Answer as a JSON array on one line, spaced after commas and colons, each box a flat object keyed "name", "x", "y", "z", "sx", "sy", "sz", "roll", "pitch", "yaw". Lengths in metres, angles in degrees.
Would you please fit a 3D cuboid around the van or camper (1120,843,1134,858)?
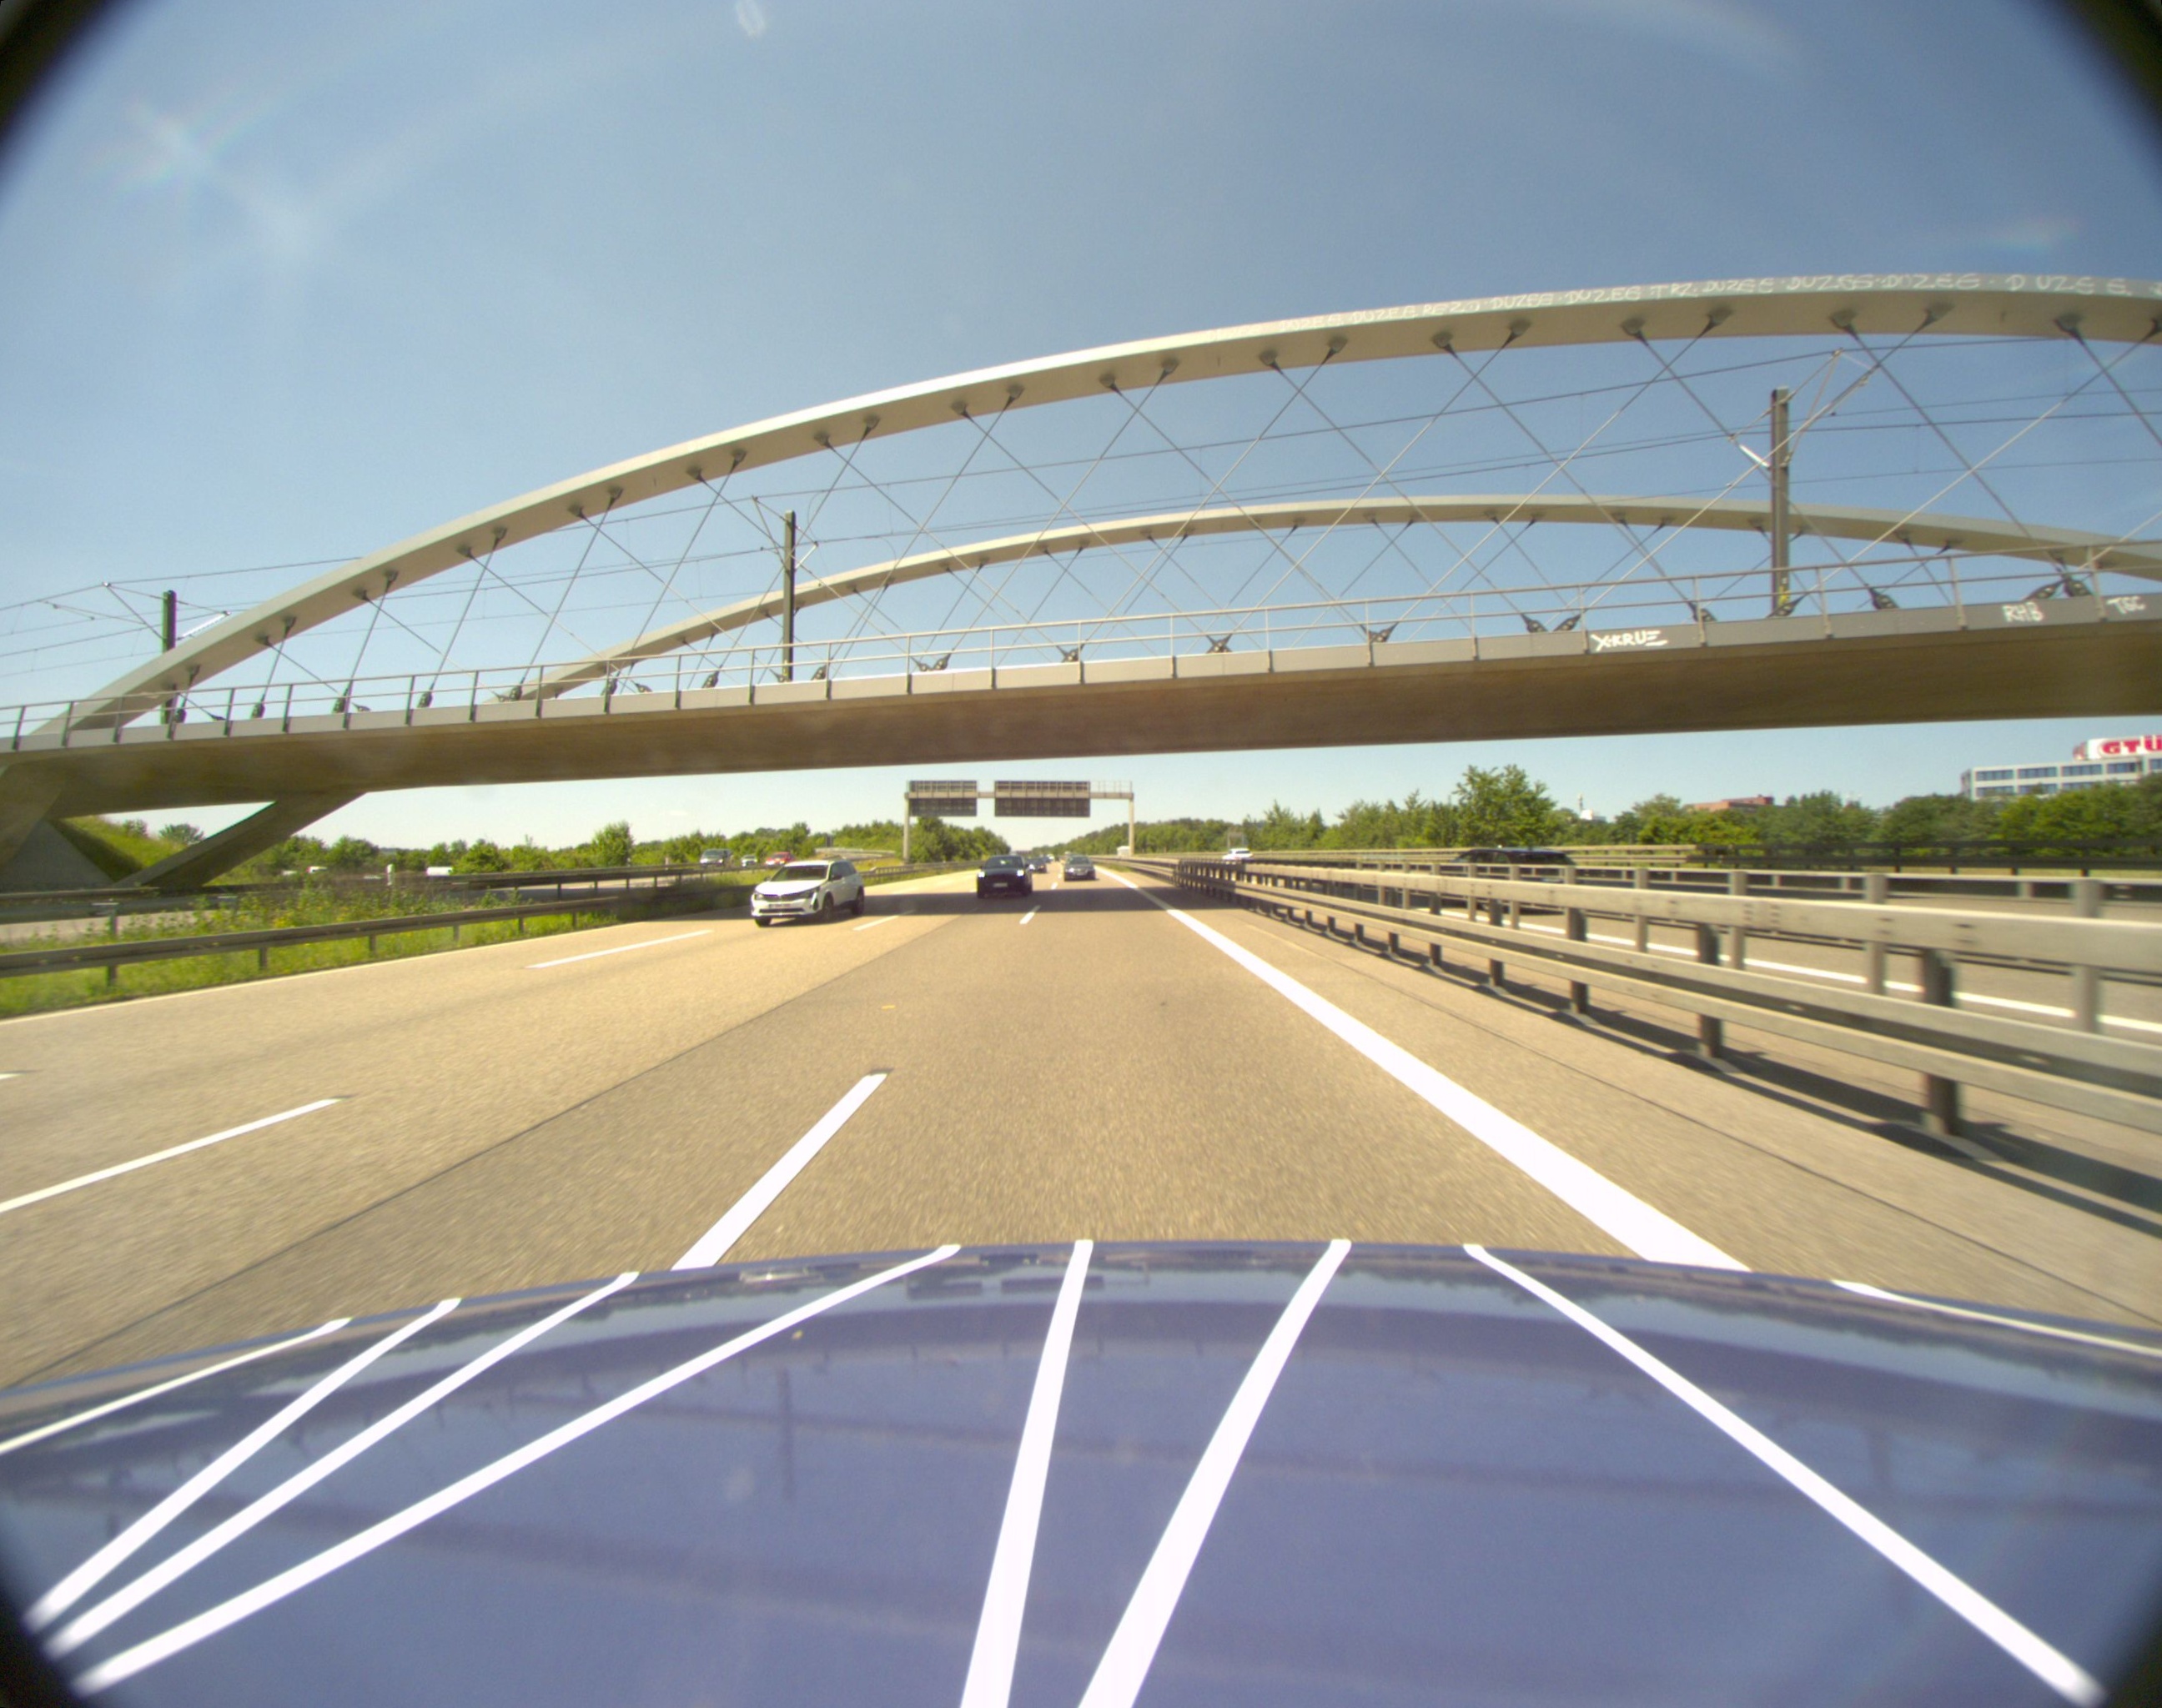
[{"name": "van or camper", "x": 9.936, "y": -0.774, "z": 166.055, "sx": 2.450, "sy": 3.069, "sz": 8.121, "roll": -2, "pitch": 0, "yaw": 0}]

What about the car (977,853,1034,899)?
[{"name": "car", "x": -2.924, "y": 0.821, "z": 30.197, "sx": 1.932, "sy": 1.586, "sz": 4.131, "roll": -3, "pitch": 1, "yaw": -2}]

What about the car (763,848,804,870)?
[{"name": "car", "x": -23.462, "y": 0.388, "z": 60.149, "sx": 1.932, "sy": 1.586, "sz": 4.129, "roll": -3, "pitch": 1, "yaw": -6}]

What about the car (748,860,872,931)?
[{"name": "car", "x": -7.251, "y": 1.027, "z": 20.854, "sx": 1.748, "sy": 1.582, "sz": 4.619, "roll": -3, "pitch": 1, "yaw": -1}]

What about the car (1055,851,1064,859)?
[{"name": "car", "x": -5.294, "y": 0.193, "z": 189.246, "sx": 1.999, "sy": 1.849, "sz": 3.998, "roll": -3, "pitch": 1, "yaw": -5}]

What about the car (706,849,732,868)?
[{"name": "car", "x": -31.930, "y": 0.407, "z": 67.124, "sx": 1.706, "sy": 1.566, "sz": 4.121, "roll": -3, "pitch": 1, "yaw": -21}]

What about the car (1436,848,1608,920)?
[{"name": "car", "x": 9.826, "y": 0.597, "z": 17.337, "sx": 1.634, "sy": 1.403, "sz": 4.100, "roll": -2, "pitch": 0, "yaw": 2}]

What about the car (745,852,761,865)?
[{"name": "car", "x": -42.144, "y": 0.592, "z": 97.480, "sx": 1.707, "sy": 1.566, "sz": 4.120, "roll": -3, "pitch": 1, "yaw": -25}]

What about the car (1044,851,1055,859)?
[{"name": "car", "x": -5.794, "y": 0.149, "z": 140.679, "sx": 1.931, "sy": 1.390, "sz": 4.117, "roll": -3, "pitch": 1, "yaw": -1}]

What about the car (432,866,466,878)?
[{"name": "car", "x": -146.820, "y": 4.123, "z": 176.551, "sx": 5.815, "sy": 2.447, "sz": 2.082, "roll": -3, "pitch": 1, "yaw": -11}]

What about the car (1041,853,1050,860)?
[{"name": "car", "x": -9.939, "y": 0.647, "z": 211.631, "sx": 1.998, "sy": 2.002, "sz": 4.001, "roll": -2, "pitch": 1, "yaw": 4}]

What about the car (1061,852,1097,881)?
[{"name": "car", "x": -0.068, "y": 0.661, "z": 44.340, "sx": 1.931, "sy": 1.499, "sz": 4.391, "roll": -3, "pitch": 1, "yaw": 1}]

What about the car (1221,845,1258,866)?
[{"name": "car", "x": 13.480, "y": 0.105, "z": 64.830, "sx": 1.933, "sy": 1.629, "sz": 4.976, "roll": -2, "pitch": 0, "yaw": -1}]

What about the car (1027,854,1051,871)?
[{"name": "car", "x": -3.640, "y": 0.719, "z": 66.547, "sx": 1.932, "sy": 1.390, "sz": 4.116, "roll": -3, "pitch": 1, "yaw": -1}]
